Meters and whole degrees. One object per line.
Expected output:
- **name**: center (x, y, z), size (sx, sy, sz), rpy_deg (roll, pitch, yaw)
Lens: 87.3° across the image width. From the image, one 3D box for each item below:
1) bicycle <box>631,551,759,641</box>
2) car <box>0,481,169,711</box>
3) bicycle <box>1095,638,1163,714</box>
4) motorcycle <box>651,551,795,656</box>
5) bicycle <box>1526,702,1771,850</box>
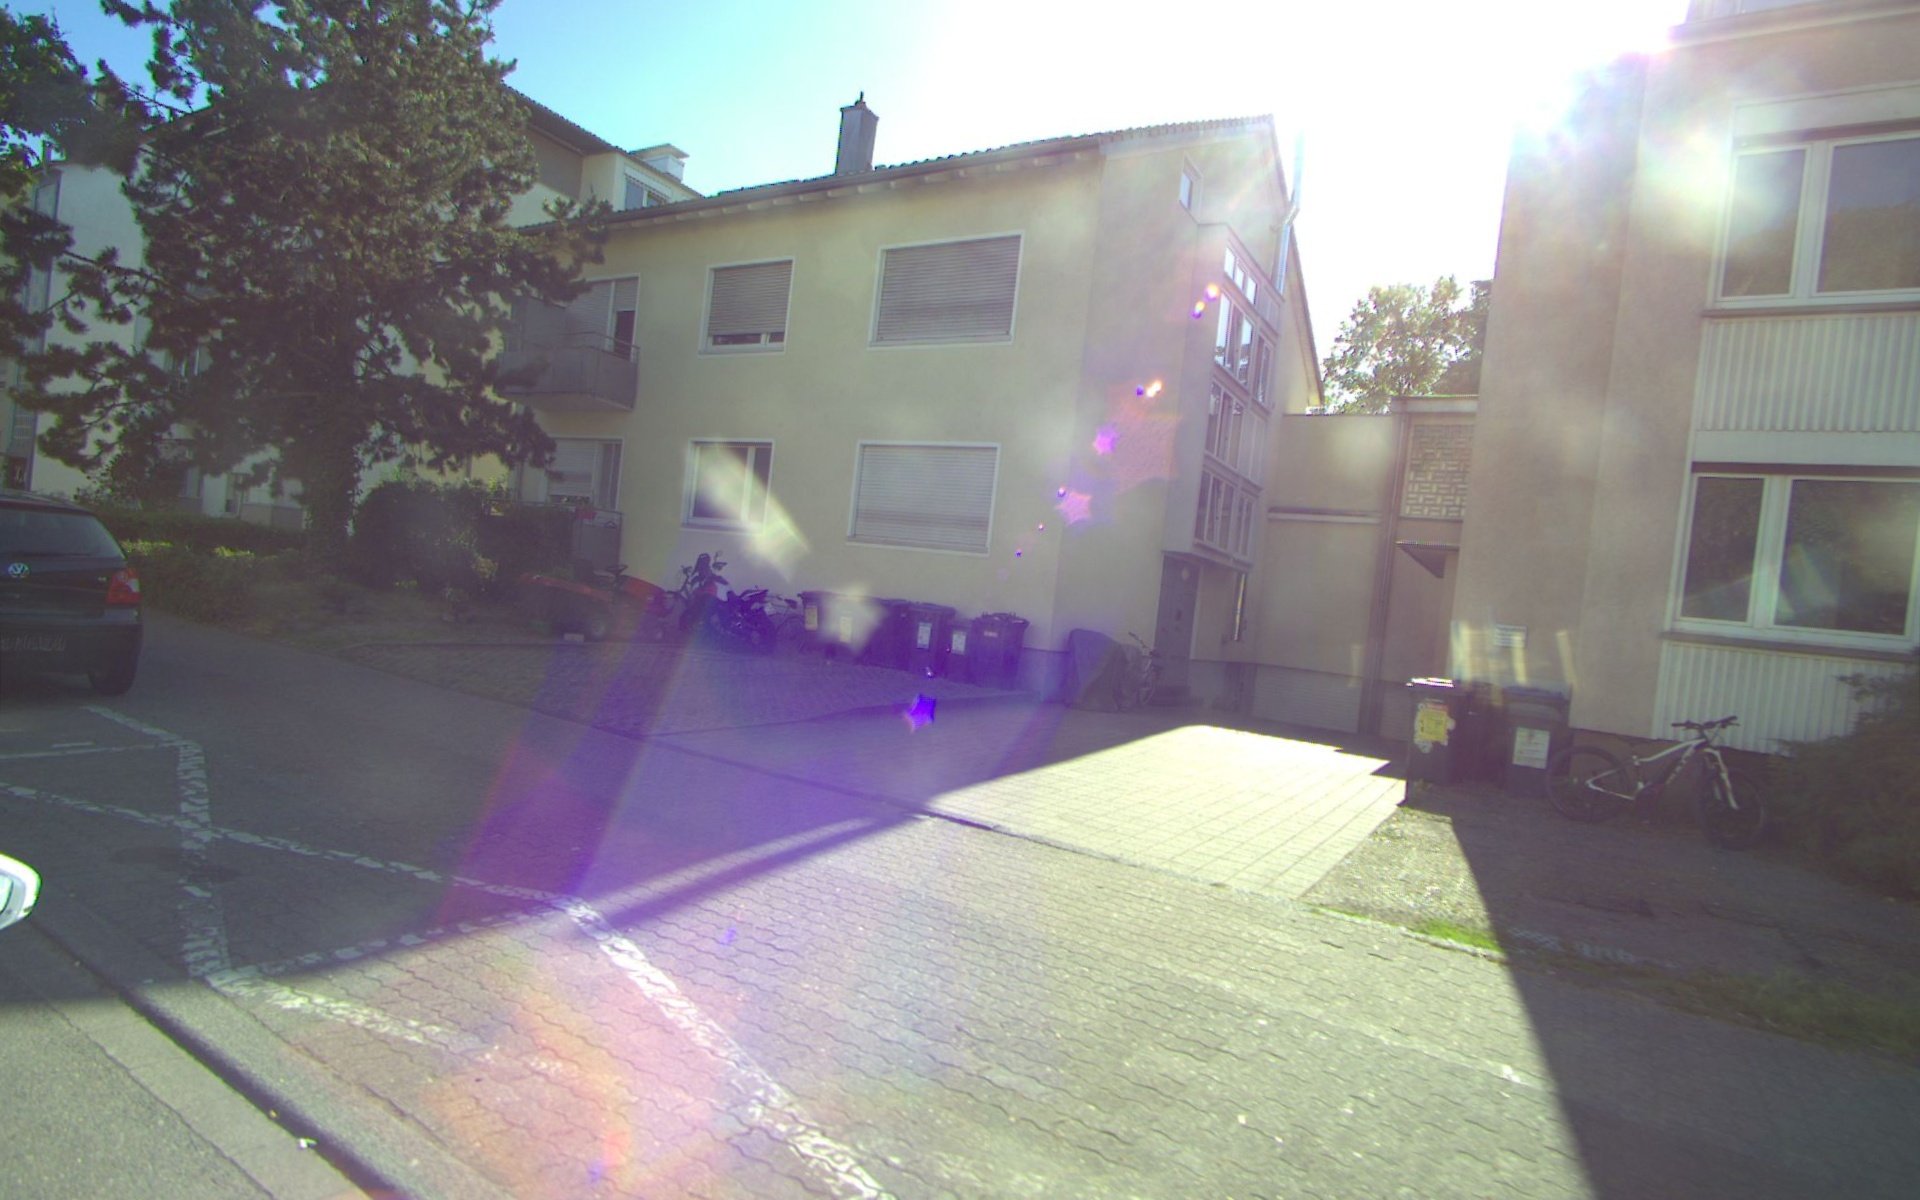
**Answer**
- **bicycle**: center (-4.691, -0.086, 17.695), size (2.385, 1.320, 0.598), rpy_deg (7, 2, 32)
- **car**: center (-7.780, -0.195, 7.674), size (3.589, 1.518, 1.621), rpy_deg (7, 1, 33)
- **bicycle**: center (2.588, 1.156, 15.244), size (0.493, 1.026, 1.785), rpy_deg (7, -2, 24)
- **motorcycle**: center (-3.818, 0.037, 16.105), size (2.385, 1.393, 0.636), rpy_deg (7, 2, 32)
- **bicycle**: center (6.172, 1.548, 9.123), size (1.714, 1.006, 0.455), rpy_deg (6, 2, 32)
